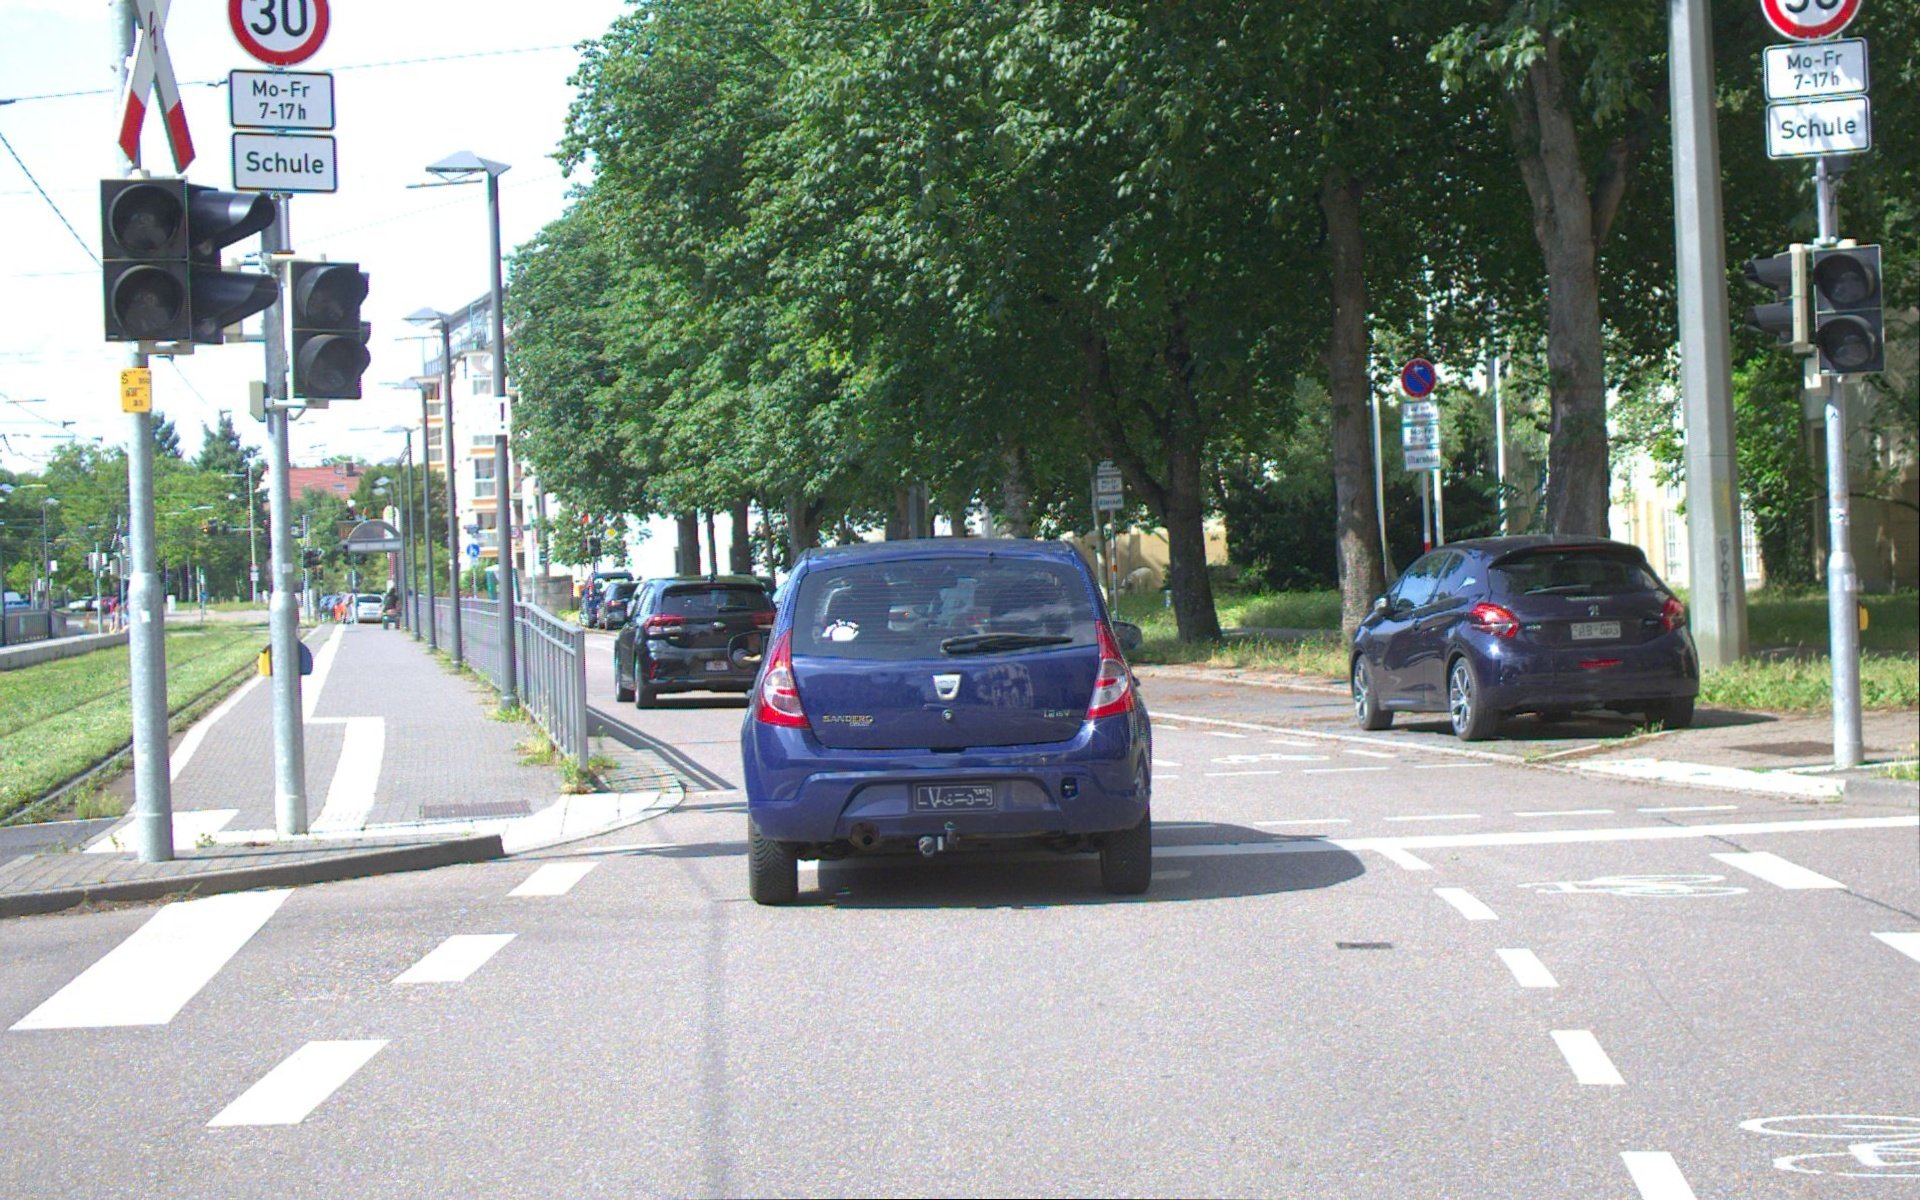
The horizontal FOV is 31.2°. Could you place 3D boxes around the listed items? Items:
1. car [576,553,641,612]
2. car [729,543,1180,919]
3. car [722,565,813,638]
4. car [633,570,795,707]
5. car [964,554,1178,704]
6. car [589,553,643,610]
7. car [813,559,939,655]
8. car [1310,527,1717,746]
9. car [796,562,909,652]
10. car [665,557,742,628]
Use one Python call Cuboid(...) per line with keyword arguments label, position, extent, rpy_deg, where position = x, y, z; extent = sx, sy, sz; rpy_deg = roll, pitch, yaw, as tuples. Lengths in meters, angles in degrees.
Cuboid(label="car", position=(-10.982, -0.554, 107.507), extent=(1.830, 1.755, 4.001), rpy_deg=(-2, 1, -4))
Cuboid(label="car", position=(-0.033, 0.495, 15.635), extent=(1.768, 1.457, 3.776), rpy_deg=(-1, 1, 0))
Cuboid(label="car", position=(-4.240, 0.012, 75.411), extent=(1.861, 1.440, 4.001), rpy_deg=(-3, 1, -4))
Cuboid(label="car", position=(-2.774, 0.395, 38.361), extent=(1.699, 1.363, 3.515), rpy_deg=(-1, 1, -5))
Cuboid(label="car", position=(1.155, 0.276, 37.544), extent=(1.861, 1.440, 4.001), rpy_deg=(-4, 1, -4))
Cuboid(label="car", position=(-11.358, -0.618, 113.613), extent=(1.667, 1.766, 4.001), rpy_deg=(-2, 1, -5))
Cuboid(label="car", position=(-1.455, 0.091, 58.029), extent=(1.861, 1.440, 4.001), rpy_deg=(-4, 1, -4))
Cuboid(label="car", position=(4.048, 0.239, 25.802), extent=(1.765, 1.428, 3.905), rpy_deg=(-3, 1, -10))
Cuboid(label="car", position=(-1.990, 0.104, 62.674), extent=(1.851, 1.510, 4.001), rpy_deg=(-2, 1, -4))
Cuboid(label="car", position=(-6.682, -0.214, 89.228), extent=(1.617, 1.744, 4.001), rpy_deg=(-2, 1, -9))
